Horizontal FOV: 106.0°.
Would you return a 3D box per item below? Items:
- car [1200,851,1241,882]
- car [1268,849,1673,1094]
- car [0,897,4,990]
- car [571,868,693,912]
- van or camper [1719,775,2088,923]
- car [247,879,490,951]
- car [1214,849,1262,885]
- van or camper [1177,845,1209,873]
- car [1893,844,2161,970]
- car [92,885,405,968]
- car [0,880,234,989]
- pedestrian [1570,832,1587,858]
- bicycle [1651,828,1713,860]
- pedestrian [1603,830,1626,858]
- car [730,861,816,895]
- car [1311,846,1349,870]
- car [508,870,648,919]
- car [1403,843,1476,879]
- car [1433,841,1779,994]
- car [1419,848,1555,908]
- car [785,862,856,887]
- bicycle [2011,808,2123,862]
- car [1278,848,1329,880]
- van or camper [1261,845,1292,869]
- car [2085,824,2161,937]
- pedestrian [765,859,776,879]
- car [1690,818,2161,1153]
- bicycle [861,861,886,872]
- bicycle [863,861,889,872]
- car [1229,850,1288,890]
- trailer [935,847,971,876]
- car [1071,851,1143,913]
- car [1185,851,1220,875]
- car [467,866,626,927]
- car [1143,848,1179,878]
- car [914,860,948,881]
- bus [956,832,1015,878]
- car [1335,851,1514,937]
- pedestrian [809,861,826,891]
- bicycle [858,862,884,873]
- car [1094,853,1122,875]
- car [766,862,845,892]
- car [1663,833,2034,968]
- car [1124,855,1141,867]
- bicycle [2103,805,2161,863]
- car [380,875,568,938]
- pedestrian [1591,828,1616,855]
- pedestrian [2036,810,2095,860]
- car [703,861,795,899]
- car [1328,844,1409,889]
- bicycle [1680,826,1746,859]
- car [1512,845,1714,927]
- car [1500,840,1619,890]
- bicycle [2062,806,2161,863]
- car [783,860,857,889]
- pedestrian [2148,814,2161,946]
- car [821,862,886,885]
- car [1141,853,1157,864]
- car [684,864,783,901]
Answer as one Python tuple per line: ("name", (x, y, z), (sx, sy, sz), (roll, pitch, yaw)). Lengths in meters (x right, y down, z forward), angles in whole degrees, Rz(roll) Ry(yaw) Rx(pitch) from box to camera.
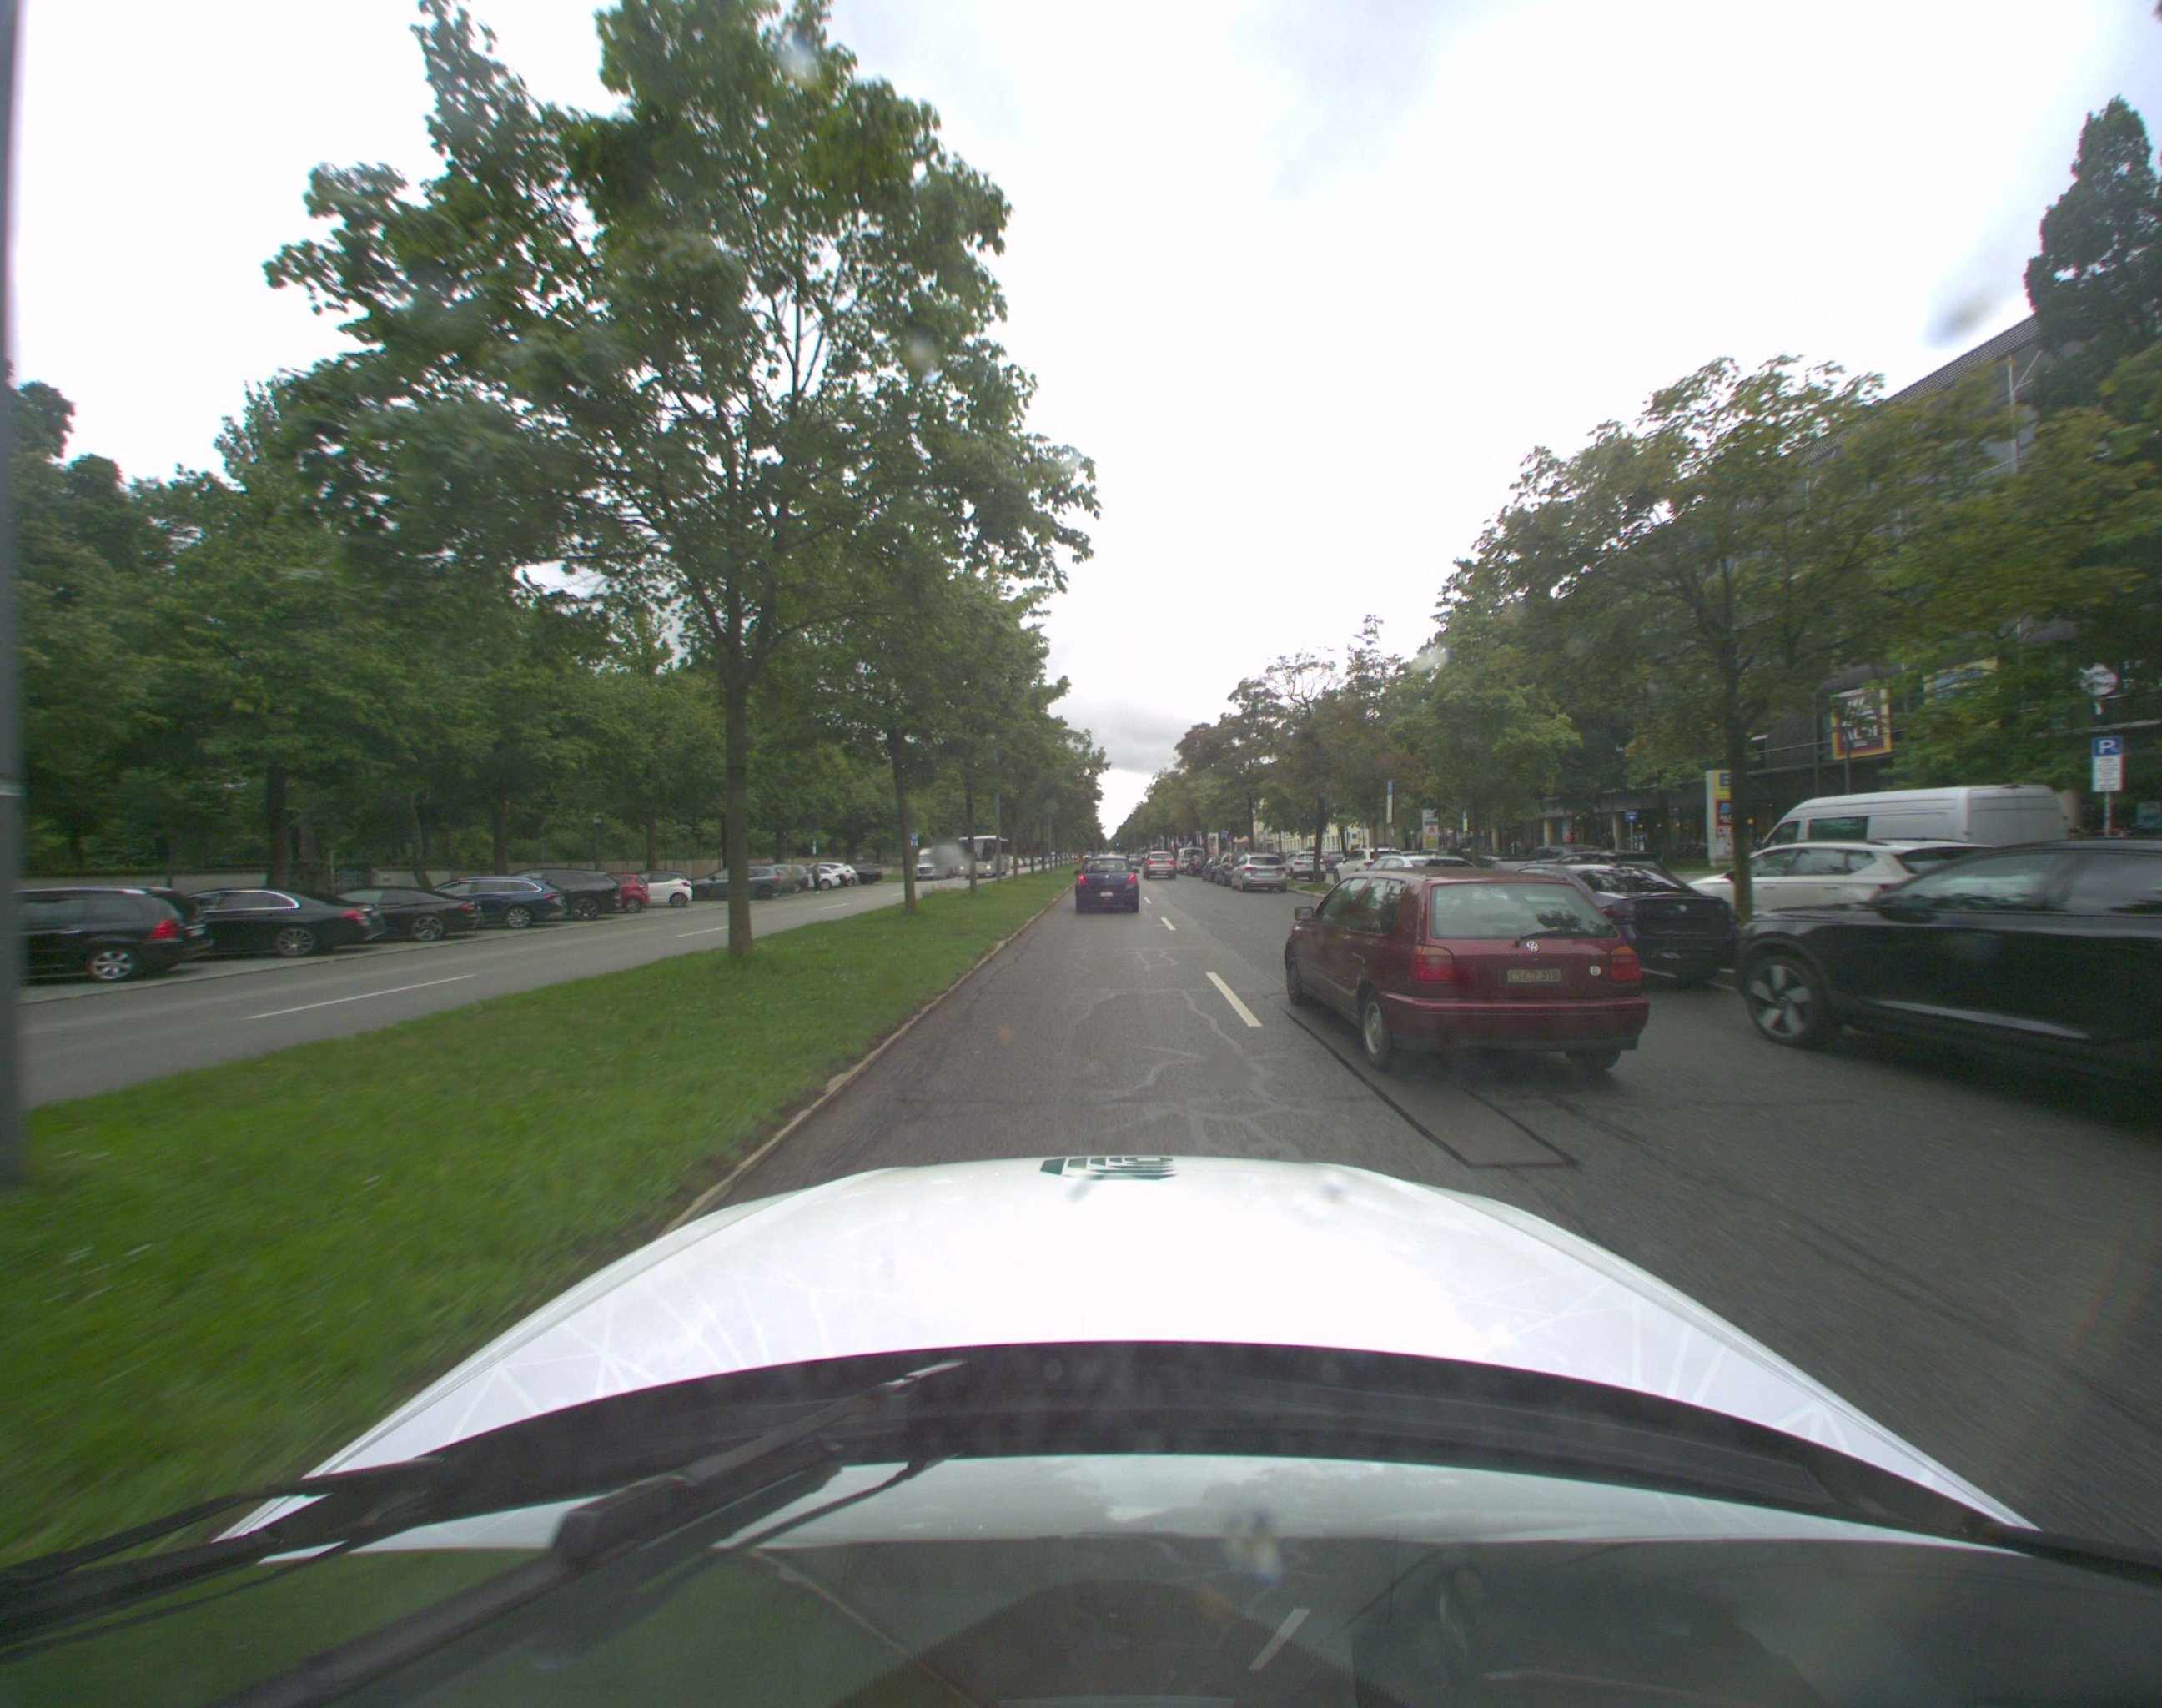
("car", (7.557, 0.640, 44.426), (1.677, 1.553, 4.309), (-1, 0, 3))
("car", (2.821, 0.712, 6.930), (1.616, 1.454, 3.951), (-1, 0, 1))
("car", (-17.808, 1.418, 10.563), (4.263, 1.422, 1.897), (-2, 0, -39))
("car", (-17.787, 1.400, 32.438), (4.119, 1.501, 1.901), (-2, 0, -29))
("van or camper", (16.923, -0.096, 17.436), (2.016, 2.558, 5.960), (-2, 0, 2))
("car", (-17.288, 1.425, 20.089), (4.213, 1.409, 1.900), (-2, 0, -32))
("car", (7.538, 0.580, 39.358), (1.677, 1.626, 4.309), (0, 0, 3))
("van or camper", (8.365, 0.367, 61.006), (1.936, 1.975, 4.309), (-1, 0, 3))
("car", (13.551, 0.611, 10.375), (1.678, 1.454, 4.841), (-1, 0, 2))
("car", (-17.149, 1.425, 17.129), (4.217, 1.322, 1.900), (-2, 0, -32))
("car", (-17.408, 1.333, 13.667), (4.127, 1.597, 1.898), (-2, 0, -37))
("pedestrian", (31.964, -0.572, 52.337), (0.678, 1.704, 0.698), (0, 0, 2))
("bicycle", (29.985, -0.492, 40.642), (2.605, 1.508, 0.797), (-2, 0, -5))
("pedestrian", (33.515, -0.624, 51.185), (0.959, 1.704, 0.799), (0, 0, 2))
("car", (-16.976, 1.279, 44.915), (4.122, 1.695, 1.900), (-2, 0, -32))
("car", (17.745, 0.281, 58.130), (1.676, 1.585, 4.032), (-1, 0, 4))
("car", (-17.938, 1.393, 29.298), (4.119, 1.501, 1.901), (-2, 0, -29))
("car", (17.775, 0.320, 40.586), (1.678, 1.632, 4.383), (-1, 0, 0))
("car", (6.389, 0.653, 10.637), (1.758, 1.546, 4.426), (-1, 0, 2))
("car", (11.089, 0.584, 22.624), (1.676, 1.454, 4.739), (-1, 0, 4))
("car", (-17.305, 1.365, 54.181), (4.122, 1.474, 1.900), (-2, 0, -32))
("bicycle", (28.933, -0.555, 23.907), (2.607, 1.508, 0.796), (-2, 0, -7))
("car", (11.733, 0.502, 43.114), (1.678, 1.585, 4.029), (-1, 0, 2))
("van or camper", (17.482, 0.260, 72.956), (1.936, 1.975, 4.309), (-1, 0, 3))
("car", (16.759, 0.367, 10.892), (1.741, 1.664, 4.010), (-1, 0, 1))
("pedestrian", (-24.918, 1.204, 65.311), (0.682, 1.612, 0.686), (-1, 0, -29))
("car", (6.238, 0.630, 5.011), (1.758, 1.651, 4.426), (-1, 0, 2))
("bicycle", (-21.754, 1.348, 85.496), (2.488, 1.144, 0.655), (0, 0, 3))
("bicycle", (-21.711, 1.345, 86.227), (2.488, 1.144, 0.708), (0, 0, 3))
("car", (7.289, 0.621, 33.838), (1.677, 1.525, 4.459), (0, 0, 3))
("trailer", (-11.801, 0.657, 75.544), (2.097, 2.540, 5.580), (-2, 0, 2))
("car", (0.684, 0.710, 22.779), (1.783, 1.555, 4.000), (-1, 0, 0))
("car", (8.144, 0.578, 54.853), (1.679, 1.553, 4.305), (-1, 0, -1))
("car", (-17.039, 1.296, 26.188), (4.122, 1.679, 1.900), (-2, 0, -32))
("car", (4.919, 0.521, 50.432), (1.844, 1.743, 4.097), (-1, 0, 0))
("car", (-12.106, 1.329, 66.131), (1.906, 1.542, 4.188), (-2, 0, 0))
("bus", (-7.659, 0.054, 67.174), (2.727, 3.377, 12.021), (-3, 0, 3))
("car", (6.596, 0.682, 16.213), (1.700, 1.454, 4.512), (1, 0, 1))
("pedestrian", (-14.257, 1.185, 44.087), (0.723, 1.612, 0.678), (-2, 0, -6))
("bicycle", (-21.822, 1.376, 84.715), (2.488, 1.144, 0.601), (0, 0, 3))
("car", (1.853, 0.665, 57.228), (1.844, 1.447, 4.097), (-1, 0, 0))
("car", (-16.413, 1.316, 48.540), (4.122, 1.585, 1.900), (-2, 0, -32))
("car", (10.636, 0.559, 11.777), (1.677, 1.585, 4.011), (-1, 0, 2))
("car", (6.447, 0.819, 102.235), (1.844, 1.447, 4.097), (-1, 0, 0))
("bicycle", (29.109, -0.556, 21.881), (2.607, 1.508, 0.796), (-2, 0, -7))
("car", (-17.166, 1.442, 23.330), (4.122, 1.469, 1.900), (-2, 0, -32))
("pedestrian", (33.589, -0.793, 52.363), (1.012, 1.704, 1.047), (0, 0, 2))
("pedestrian", (31.648, -0.603, 26.202), (0.685, 1.579, 0.972), (-2, 0, 3))
("car", (-16.973, 1.291, 41.664), (4.122, 1.695, 1.900), (-2, 0, -32))
("car", (11.418, 0.470, 32.699), (1.678, 1.632, 4.782), (-1, 0, 2))
("bicycle", (30.096, -0.553, 38.815), (2.605, 1.508, 0.797), (-2, 0, -5))
("car", (10.830, 0.586, 16.962), (1.677, 1.454, 4.011), (-1, 0, 2))
("car", (17.234, 0.361, 29.629), (1.678, 1.632, 4.498), (-1, 0, 0))
("bicycle", (29.041, -0.554, 22.753), (2.607, 1.508, 0.796), (-2, 0, -7))
("car", (-16.548, 1.286, 51.611), (4.122, 1.652, 1.900), (-2, 0, -32))
("pedestrian", (15.585, 0.348, 11.093), (0.872, 1.851, 0.903), (-2, 0, 1))
("car", (-16.113, 1.353, 57.679), (4.122, 1.474, 1.688), (-1, -1, -32))
("car", (9.478, 0.601, 113.449), (1.844, 1.447, 4.097), (-1, 0, 0))
("car", (-16.626, 1.316, 38.995), (4.199, 1.542, 1.901), (-2, 0, -29))
